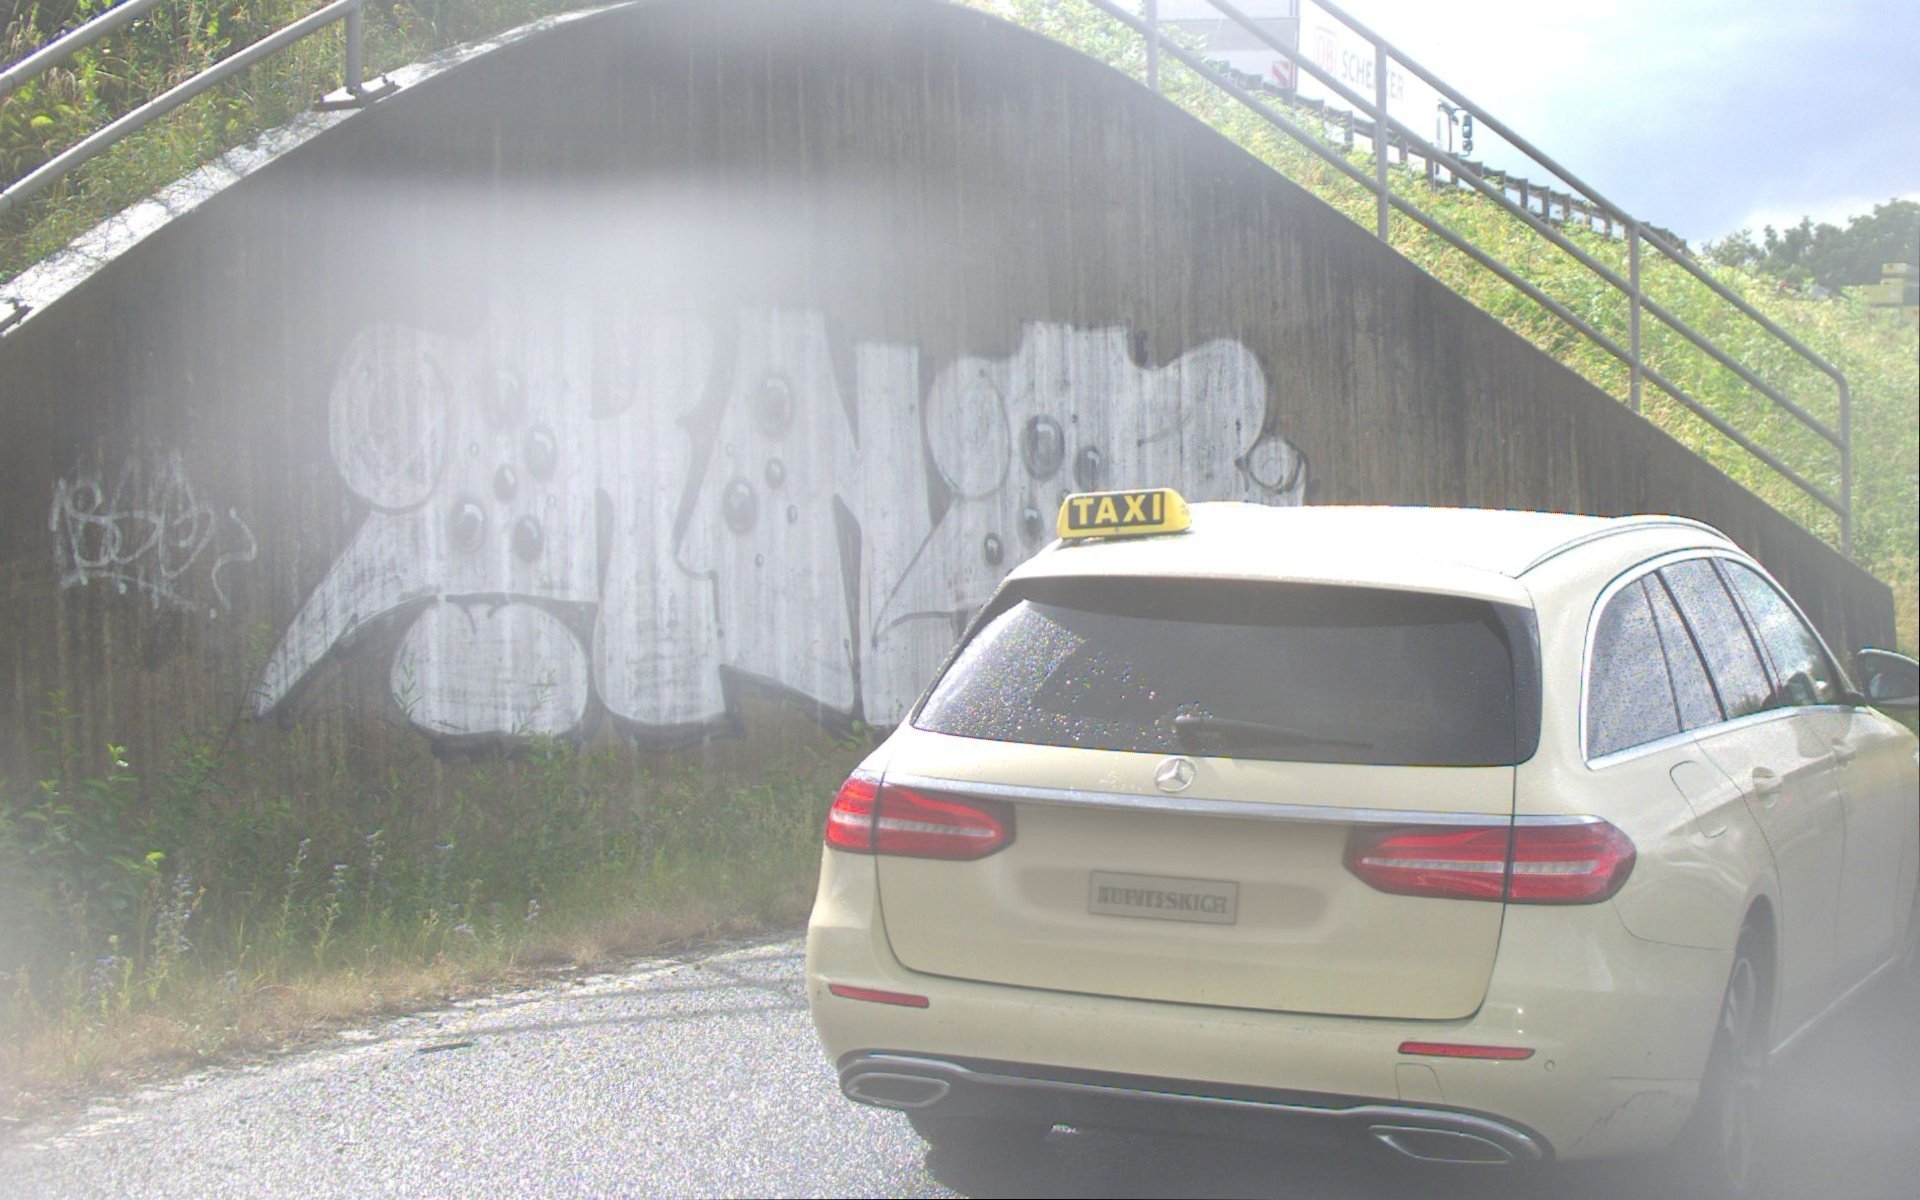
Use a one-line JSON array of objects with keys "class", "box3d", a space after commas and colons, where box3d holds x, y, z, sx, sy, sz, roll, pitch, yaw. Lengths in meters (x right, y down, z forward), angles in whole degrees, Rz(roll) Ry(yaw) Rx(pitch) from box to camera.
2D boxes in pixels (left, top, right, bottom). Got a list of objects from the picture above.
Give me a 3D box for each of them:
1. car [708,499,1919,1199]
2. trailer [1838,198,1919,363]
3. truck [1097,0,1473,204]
[{"class": "car", "box3d": [1.289, 0.512, 8.430, 1.918, 1.502, 4.591, 1, 2, 23]}, {"class": "trailer", "box3d": [31.365, -8.972, 102.837, 4.421, 3.942, 20.183, 2, 0, 30]}, {"class": "truck", "box3d": [5.352, -8.779, 54.412, 3.184, 3.952, 9.225, 2, 0, 23]}]
